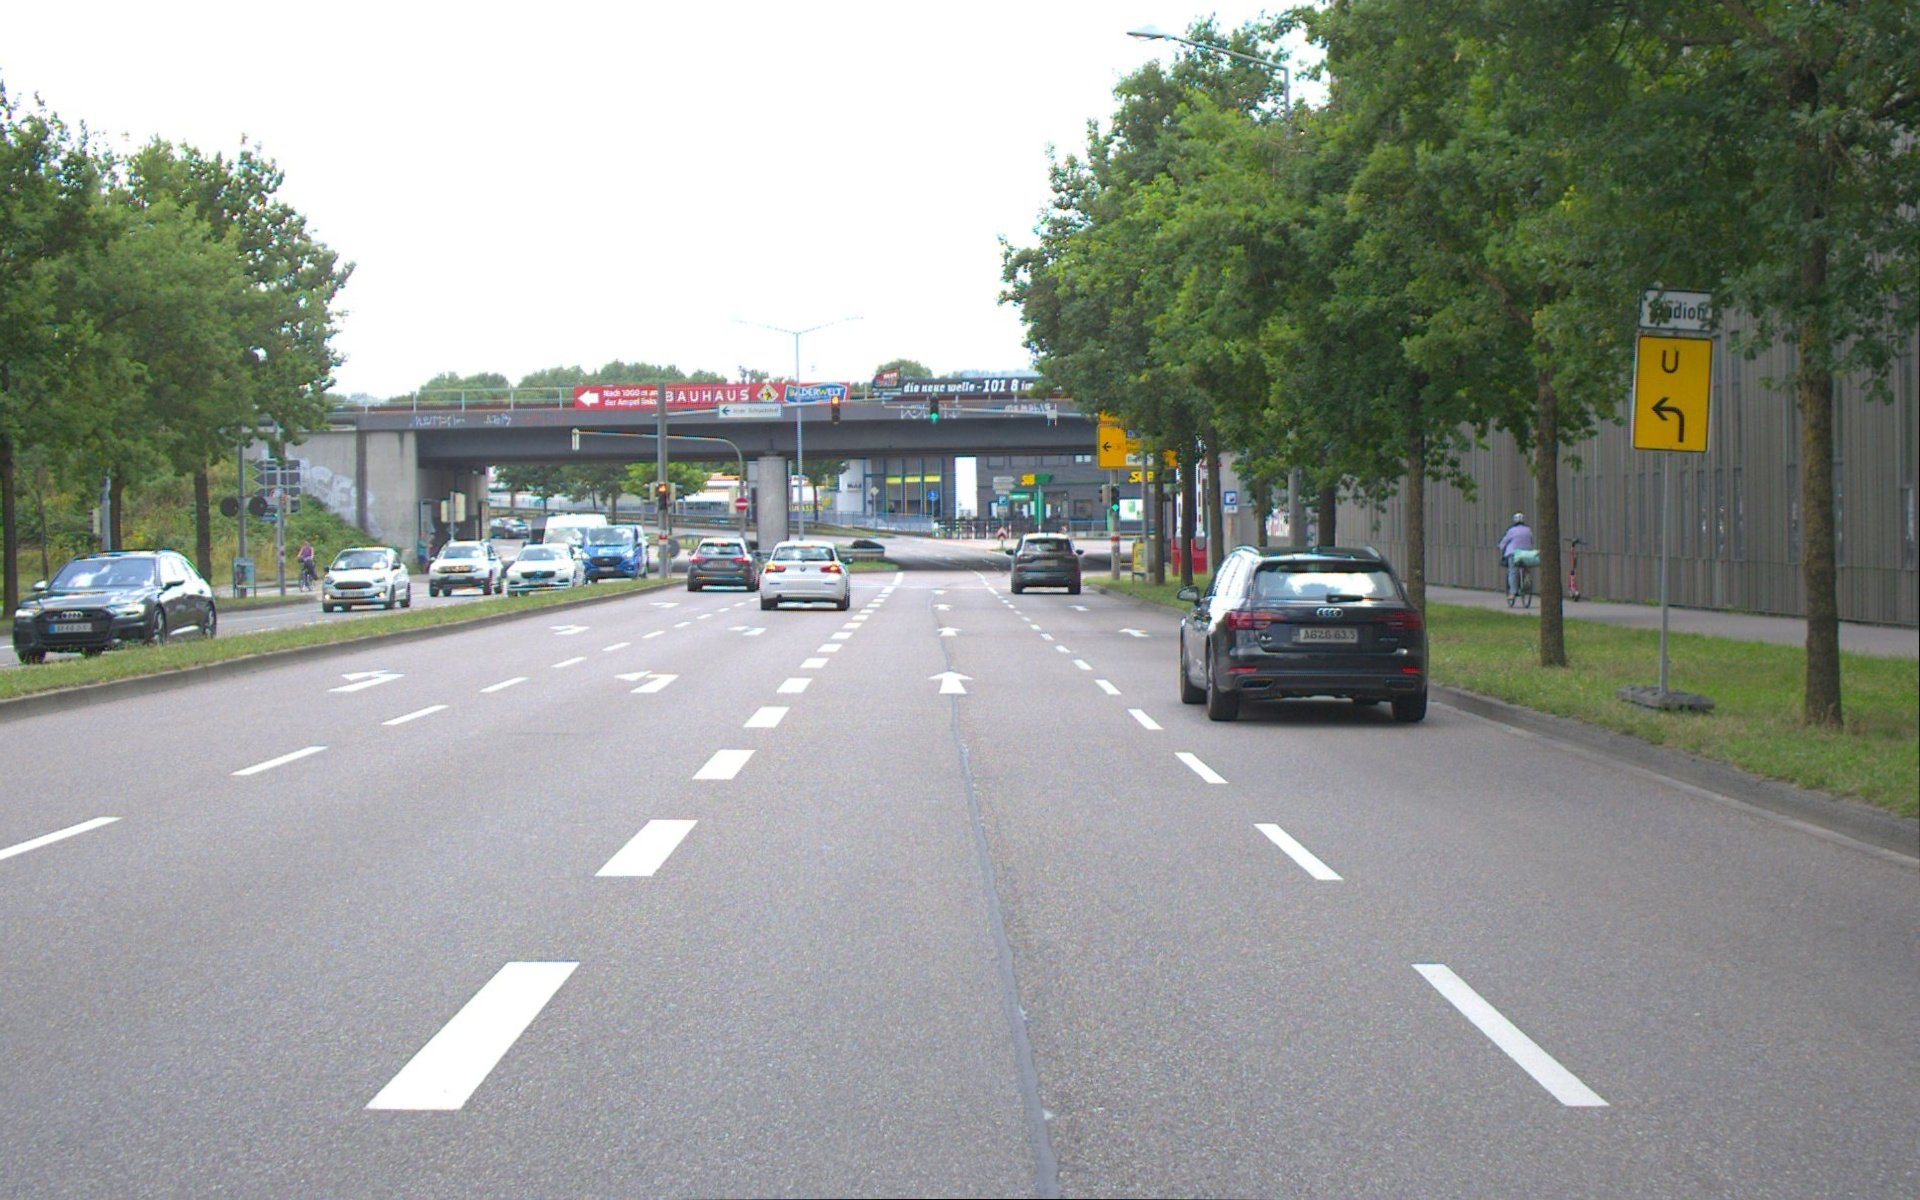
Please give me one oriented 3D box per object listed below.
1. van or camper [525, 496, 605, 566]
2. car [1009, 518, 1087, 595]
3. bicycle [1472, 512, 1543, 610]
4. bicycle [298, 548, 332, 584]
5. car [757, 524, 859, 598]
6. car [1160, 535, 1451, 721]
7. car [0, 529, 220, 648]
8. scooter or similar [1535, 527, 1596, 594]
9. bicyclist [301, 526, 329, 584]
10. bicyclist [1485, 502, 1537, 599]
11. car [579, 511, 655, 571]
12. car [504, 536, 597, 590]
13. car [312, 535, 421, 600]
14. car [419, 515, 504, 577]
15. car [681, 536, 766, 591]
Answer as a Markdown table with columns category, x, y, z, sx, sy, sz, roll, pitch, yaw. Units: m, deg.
| category | x | y | z | sx | sy | sz | roll | pitch | yaw |
| --- | --- | --- | --- | --- | --- | --- | --- | --- | --- |
| van or camper | -14.758 | -2.608 | 128.946 | 2.351 | 2.531 | 7.065 | 0 | 1 | -1 |
| car | 2.402 | -1.216 | 94.626 | 1.993 | 2.030 | 4.713 | -1 | 1 | 0 |
| bicycle | 10.156 | -0.731 | 63.859 | 0.719 | 1.768 | 2.534 | -1 | 1 | -4 |
| bicycle | -22.545 | -1.184 | 120.269 | 0.669 | 1.240 | 2.040 | 1 | 1 | 4 |
| car | -3.127 | -0.839 | 71.391 | 1.915 | 1.410 | 4.296 | 2 | 1 | 0 |
| car | 2.869 | 0.183 | 29.541 | 1.993 | 1.385 | 4.576 | 1 | 2 | 0 |
| car | -11.663 | -0.201 | 47.238 | 1.959 | 1.512 | 4.910 | -1 | 1 | -1 |
| scooter or similar | 11.690 | -0.773 | 66.434 | 0.704 | 1.242 | 2.480 | -2 | 1 | 0 |
| bicyclist | -22.569 | -1.586 | 120.261 | 0.756 | 2.007 | 0.840 | 1 | 1 | 5 |
| bicyclist | 10.173 | -0.925 | 63.509 | 0.715 | 1.763 | 0.989 | -1 | 1 | -4 |
| car | -11.748 | -2.052 | 118.122 | 2.190 | 1.957 | 5.194 | -1 | 1 | -1 |
| car | -11.511 | -1.069 | 97.007 | 1.993 | 1.426 | 5.024 | -1 | 1 | 0 |
| car | -14.429 | -0.804 | 83.769 | 1.914 | 1.438 | 4.415 | -3 | 1 | -1 |
| car | -14.918 | -1.630 | 103.111 | 1.993 | 1.795 | 4.410 | -1 | 1 | -1 |
| car | -6.393 | -1.001 | 93.479 | 1.993 | 1.410 | 4.832 | 1 | 1 | 0 |
